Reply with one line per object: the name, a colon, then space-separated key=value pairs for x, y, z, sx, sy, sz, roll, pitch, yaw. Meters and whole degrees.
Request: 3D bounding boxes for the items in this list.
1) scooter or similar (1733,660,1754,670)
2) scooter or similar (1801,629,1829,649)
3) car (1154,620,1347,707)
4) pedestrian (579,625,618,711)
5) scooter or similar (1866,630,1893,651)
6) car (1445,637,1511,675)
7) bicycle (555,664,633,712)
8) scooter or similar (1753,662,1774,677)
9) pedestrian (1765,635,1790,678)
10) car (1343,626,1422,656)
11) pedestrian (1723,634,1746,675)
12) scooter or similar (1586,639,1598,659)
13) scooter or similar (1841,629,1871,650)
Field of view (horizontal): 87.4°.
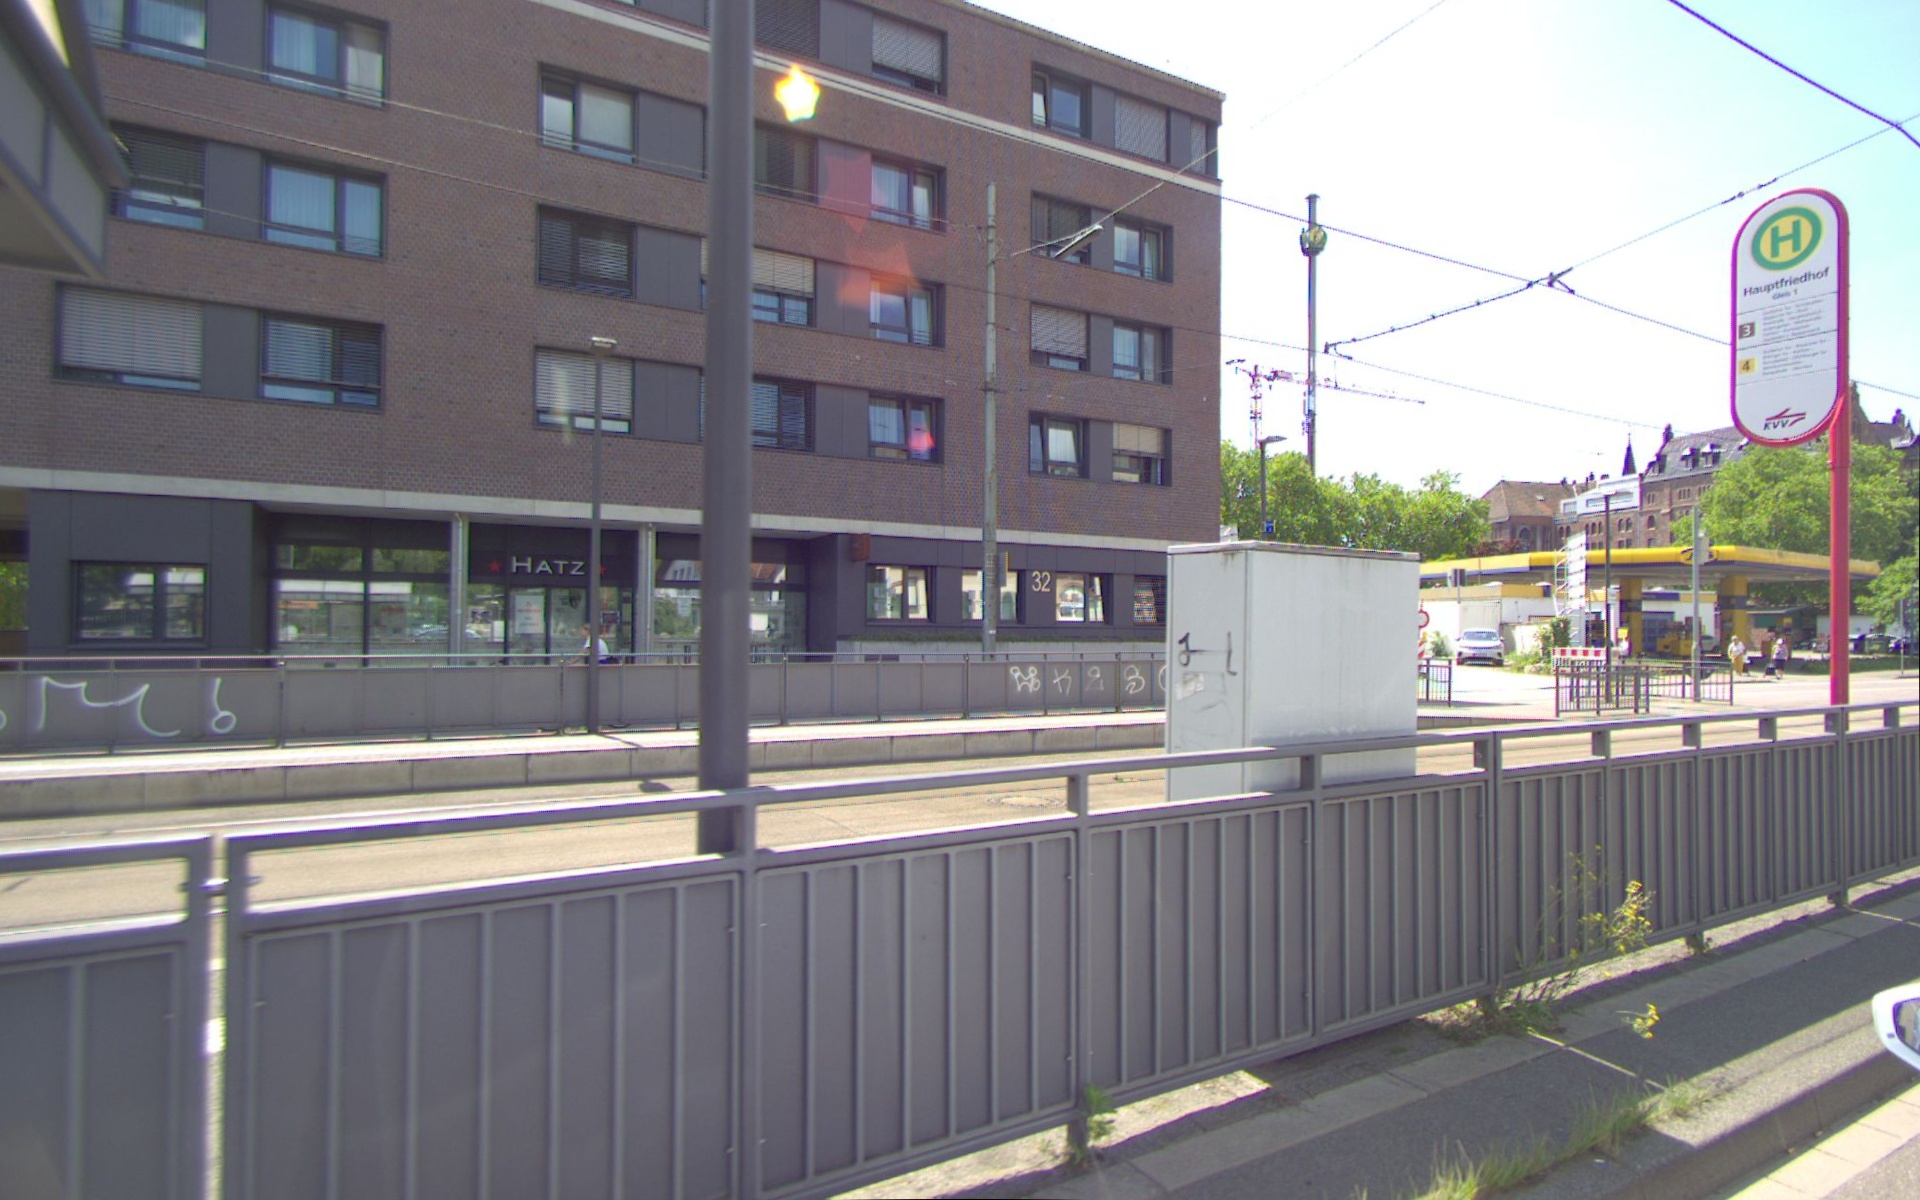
scooter or similar: x=32.792 y=2.716 z=42.042 sx=0.664 sy=0.400 sz=0.471 roll=1 pitch=-1 yaw=-29
scooter or similar: x=64.636 y=2.960 z=75.933 sx=1.044 sy=1.486 sz=1.310 roll=1 pitch=-2 yaw=-24
car: x=6.047 y=1.324 z=20.860 sx=3.729 sy=1.648 sz=1.828 roll=2 pitch=-4 yaw=-31
pedestrian: x=-5.963 y=1.117 z=16.561 sx=0.529 sy=1.402 sz=0.434 roll=2 pitch=-4 yaw=-29
scooter or similar: x=65.944 y=2.888 z=72.054 sx=1.047 sy=1.486 sz=1.167 roll=2 pitch=-2 yaw=-31
car: x=22.893 y=2.504 z=44.564 sx=2.017 sy=1.587 sz=4.002 roll=-1 pitch=-4 yaw=19
bicycle: x=-6.003 y=1.432 z=16.503 sx=1.172 sy=0.771 sz=0.291 roll=2 pitch=-4 yaw=-28
scooter or similar: x=32.801 y=2.850 z=41.011 sx=0.623 sy=0.588 sz=0.475 roll=1 pitch=-1 yaw=-25
pedestrian: x=32.794 y=2.258 z=40.279 sx=0.659 sy=1.693 sz=0.578 roll=1 pitch=-1 yaw=-28
car: x=21.860 y=2.090 z=52.146 sx=1.729 sy=1.482 sz=4.005 roll=1 pitch=-1 yaw=-14
pedestrian: x=32.173 y=2.259 z=41.714 sx=0.664 sy=1.680 sz=0.550 roll=1 pitch=-1 yaw=-29
scooter or similar: x=31.685 y=2.451 z=50.346 sx=0.323 sy=0.942 sz=0.403 roll=1 pitch=-1 yaw=-33
scooter or similar: x=65.513 y=2.899 z=73.430 sx=1.044 sy=1.486 sz=1.310 roll=2 pitch=-2 yaw=-24
